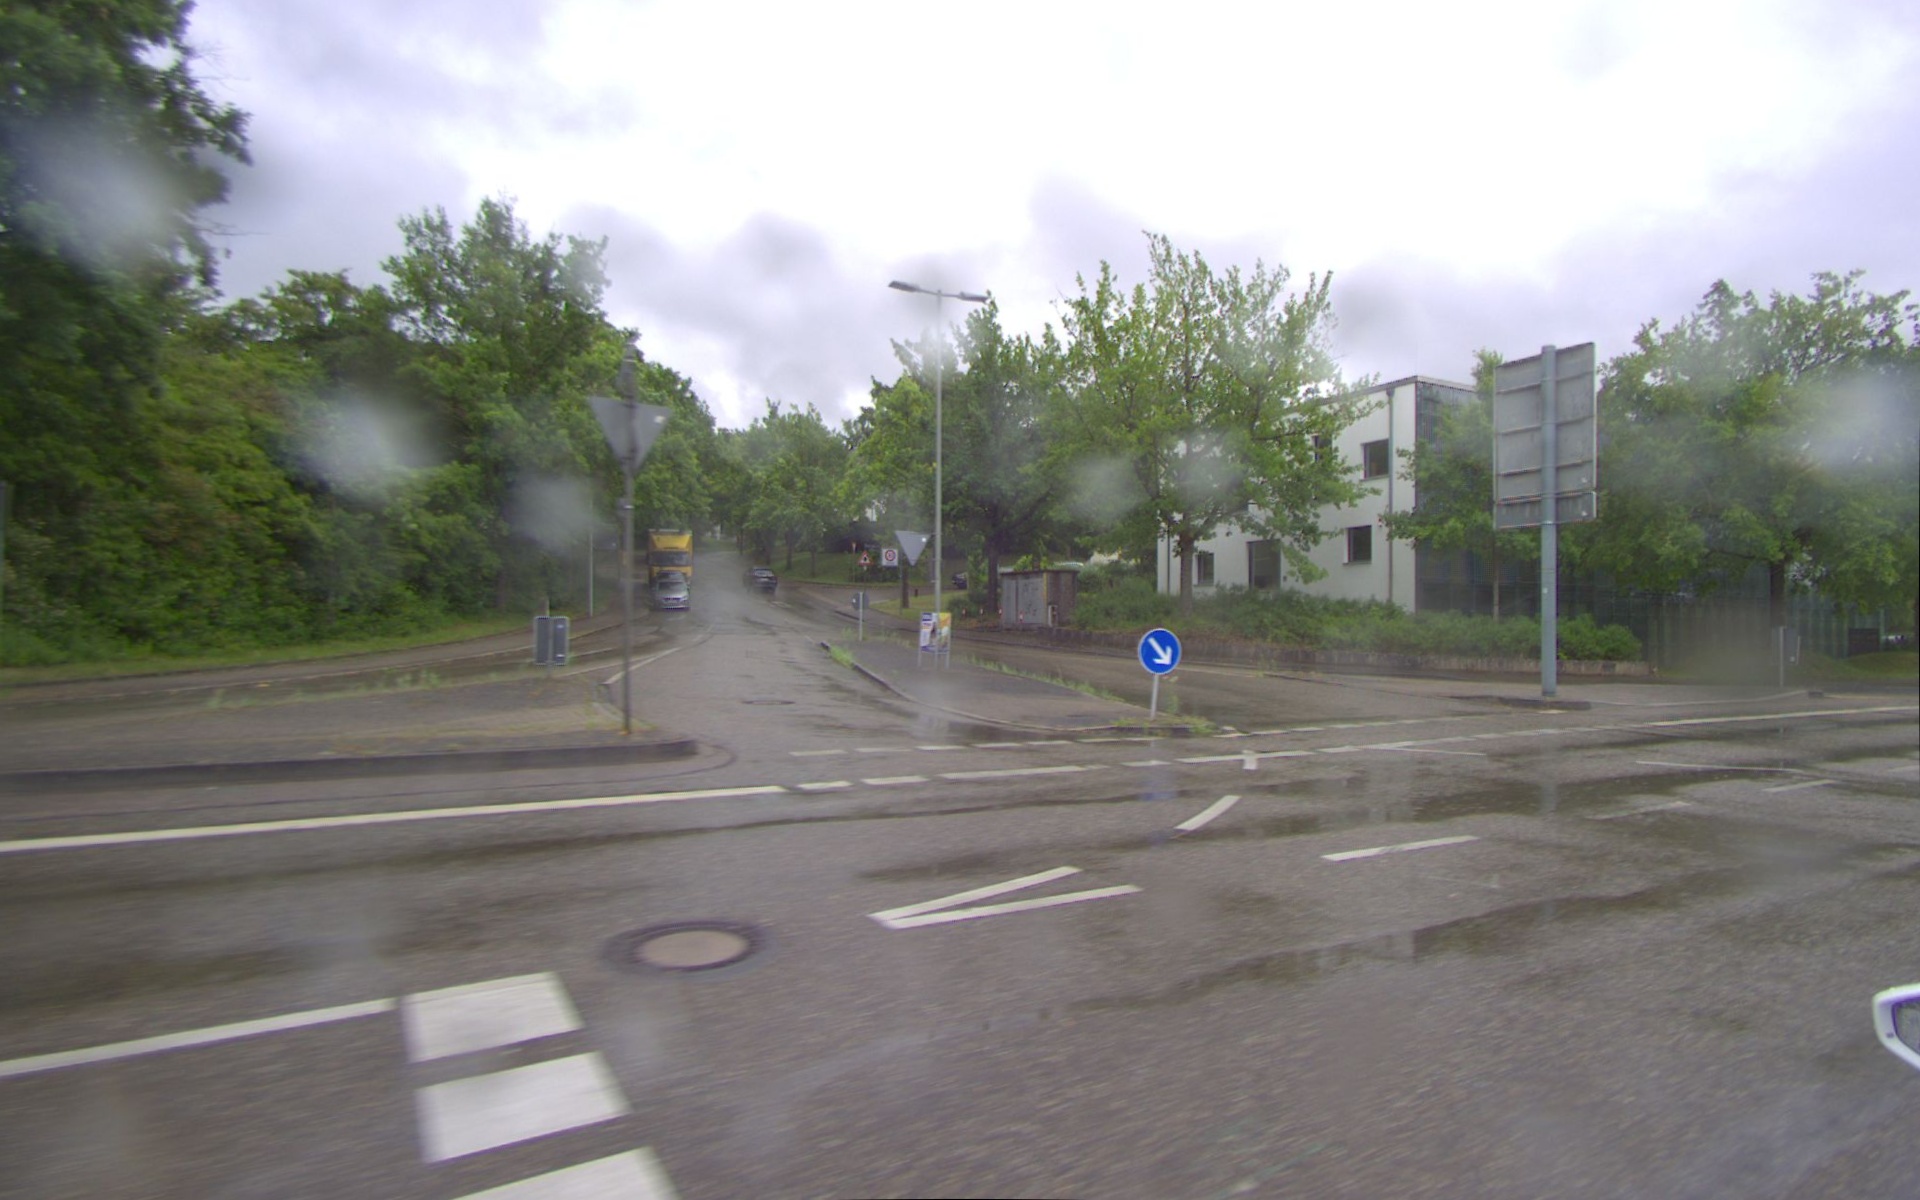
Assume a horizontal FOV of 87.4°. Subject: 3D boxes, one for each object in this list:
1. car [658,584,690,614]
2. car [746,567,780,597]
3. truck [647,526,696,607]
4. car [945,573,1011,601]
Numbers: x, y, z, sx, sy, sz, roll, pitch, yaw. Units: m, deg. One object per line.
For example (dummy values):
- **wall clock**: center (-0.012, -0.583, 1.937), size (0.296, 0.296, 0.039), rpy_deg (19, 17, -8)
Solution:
- **car**: center (-14.391, -0.083, 50.727), size (1.453, 1.419, 3.870), rpy_deg (1, 1, -15)
- **car**: center (-12.934, -1.185, 65.670), size (1.771, 1.786, 3.984), rpy_deg (1, 3, -17)
- **truck**: center (-18.595, -2.042, 64.444), size (2.771, 4.717, 10.650), rpy_deg (1, 1, -17)
- **car**: center (1.213, -0.885, 70.098), size (4.316, 1.786, 1.996), rpy_deg (1, 2, -9)
